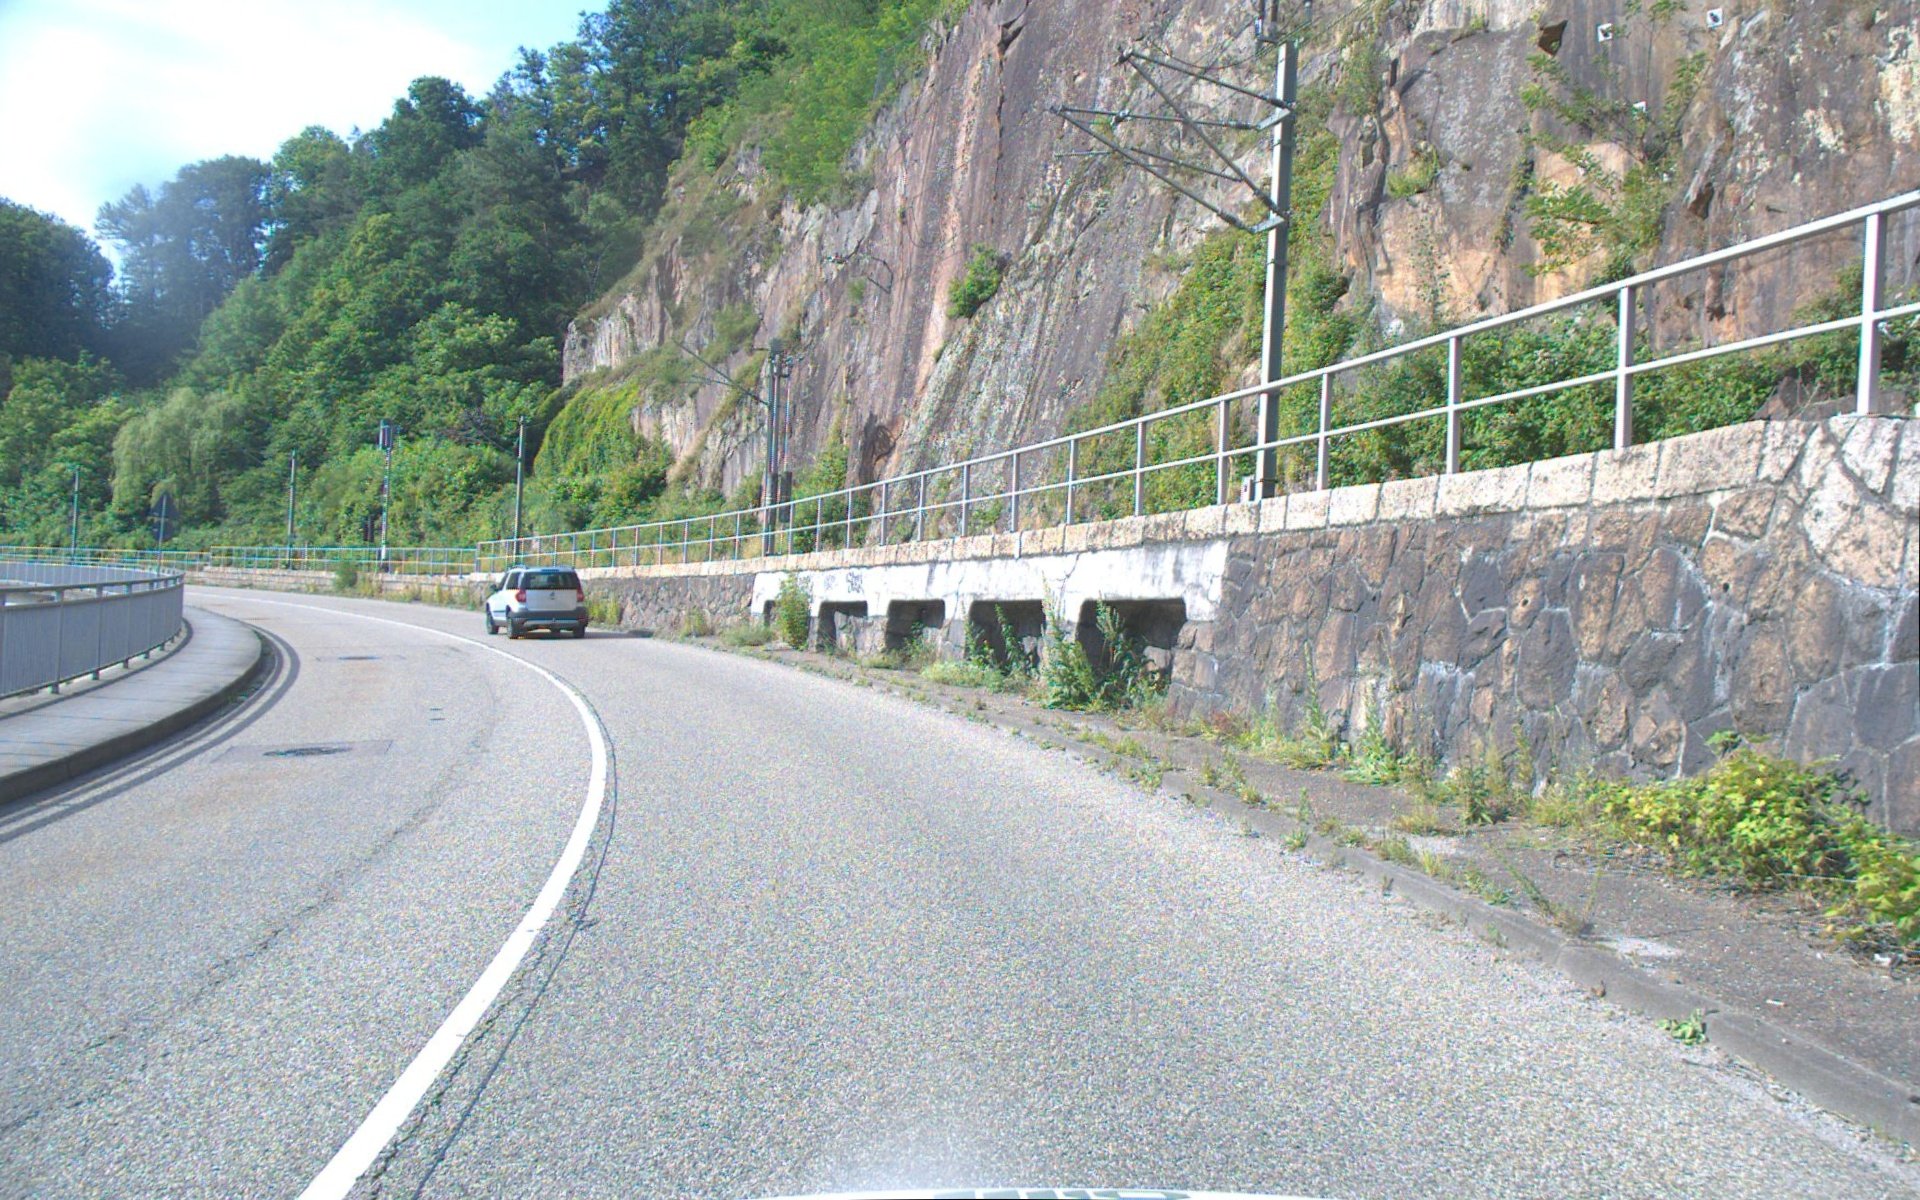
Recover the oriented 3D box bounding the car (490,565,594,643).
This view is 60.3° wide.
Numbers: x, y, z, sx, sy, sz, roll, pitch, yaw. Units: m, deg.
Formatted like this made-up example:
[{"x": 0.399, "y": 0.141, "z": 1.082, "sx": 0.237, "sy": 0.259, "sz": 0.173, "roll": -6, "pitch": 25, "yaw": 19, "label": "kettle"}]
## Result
[{"x": -9.940, "y": 0.054, "z": 39.156, "sx": 1.847, "sy": 1.684, "sz": 3.973, "roll": 0, "pitch": 2, "yaw": -22, "label": "car"}]
